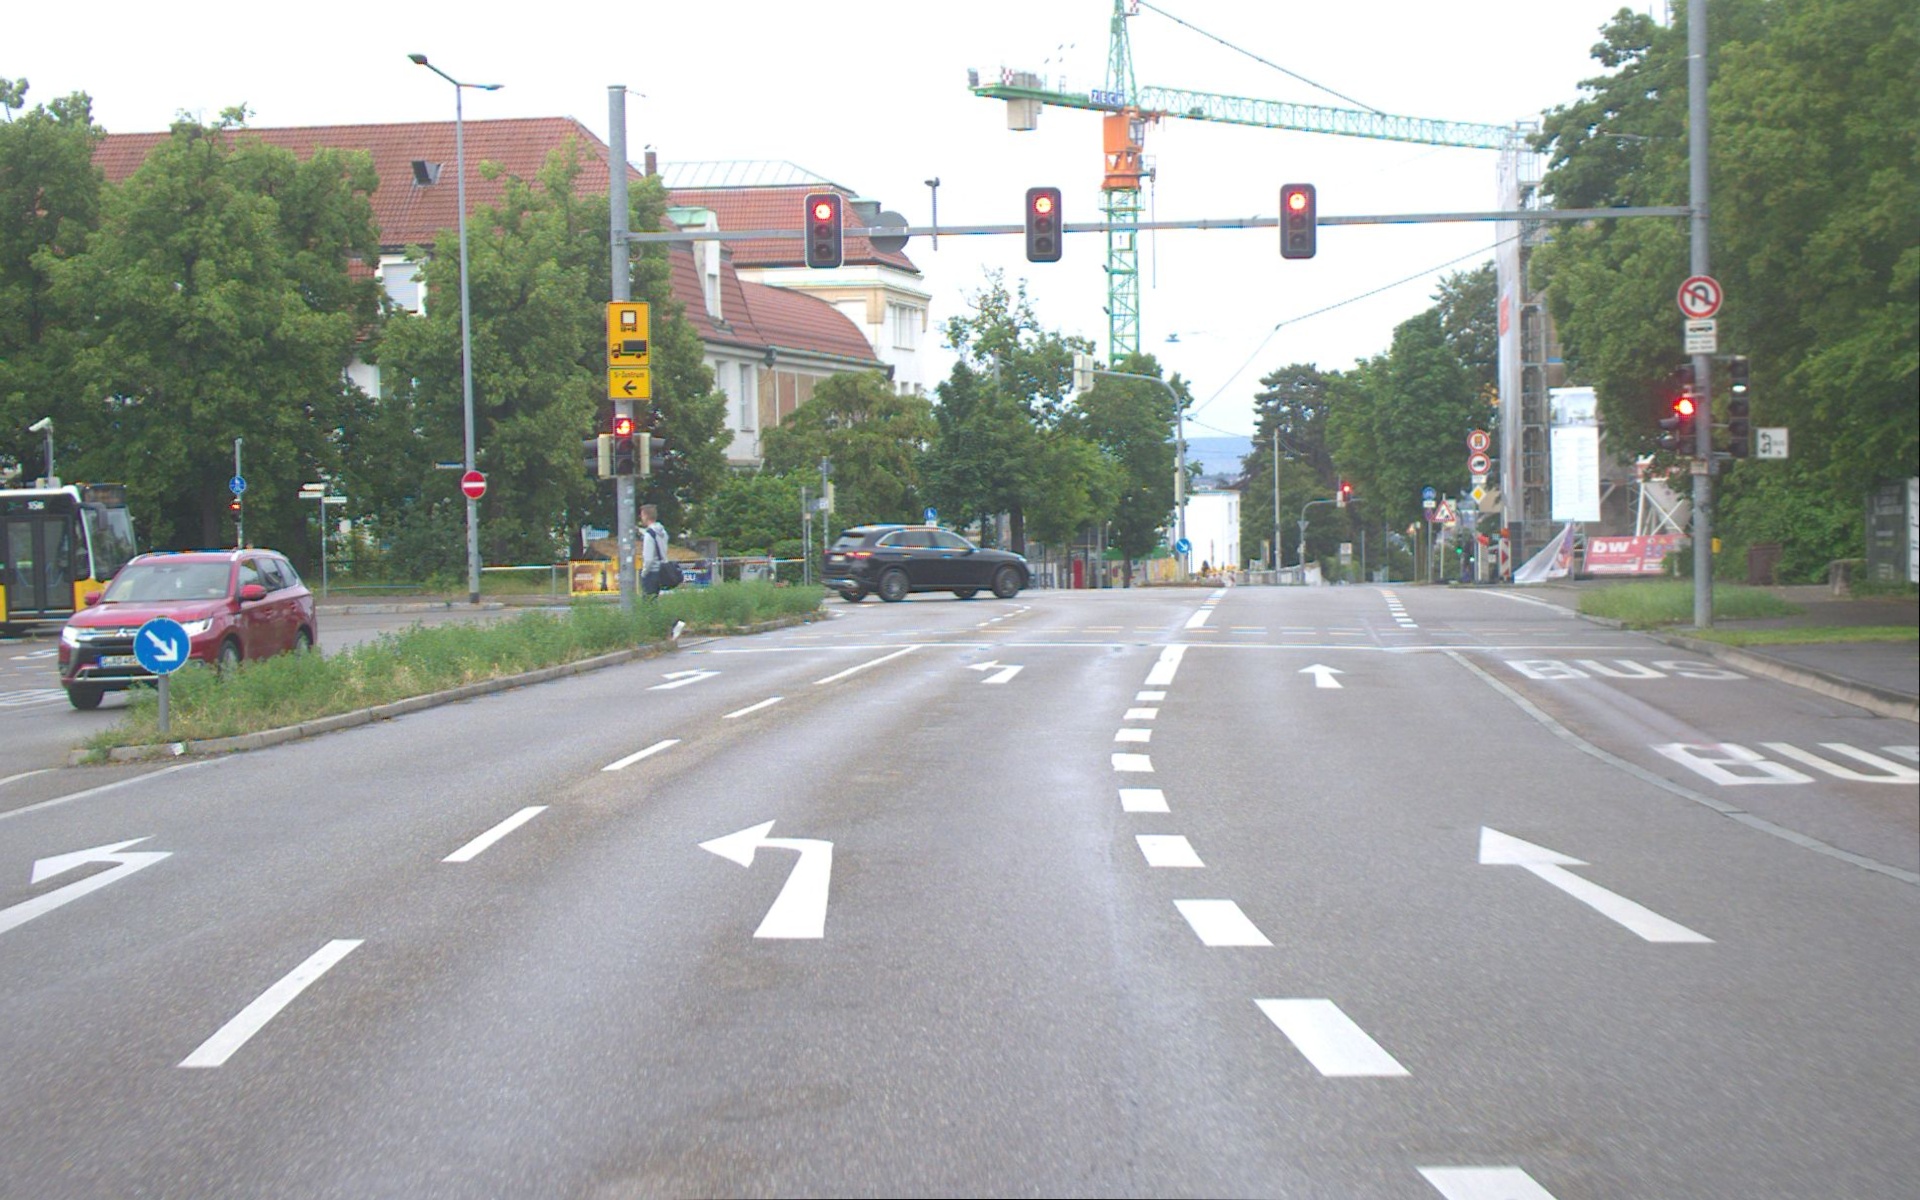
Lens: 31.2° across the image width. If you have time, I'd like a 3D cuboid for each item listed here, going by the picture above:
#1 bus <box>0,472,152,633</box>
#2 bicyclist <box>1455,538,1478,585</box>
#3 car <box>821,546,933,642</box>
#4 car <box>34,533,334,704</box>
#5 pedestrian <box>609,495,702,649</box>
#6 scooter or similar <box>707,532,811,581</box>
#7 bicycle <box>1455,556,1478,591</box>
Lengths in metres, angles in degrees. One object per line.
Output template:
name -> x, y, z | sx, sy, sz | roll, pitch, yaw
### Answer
bus -> -21.396, -0.879, 68.766 | 9.727, 3.092, 2.897 | -1, 1, 8
bicyclist -> 17.407, -1.320, 118.060 | 0.720, 1.558, 1.142 | 1, 0, 7
car -> -1.772, -0.115, 75.011 | 1.944, 2.014, 4.550 | 1, 0, 5
car -> -8.625, 0.155, 38.638 | 1.853, 1.677, 4.737 | -3, 1, 5
pedestrian -> -4.113, -0.385, 46.532 | 0.940, 2.007, 0.847 | -4, 1, 11
scooter or similar -> -6.244, -1.352, 106.862 | 3.088, 1.435, 0.949 | -1, 1, 4
bicycle -> 17.398, -0.903, 118.084 | 0.720, 1.189, 1.755 | 1, 0, 7
